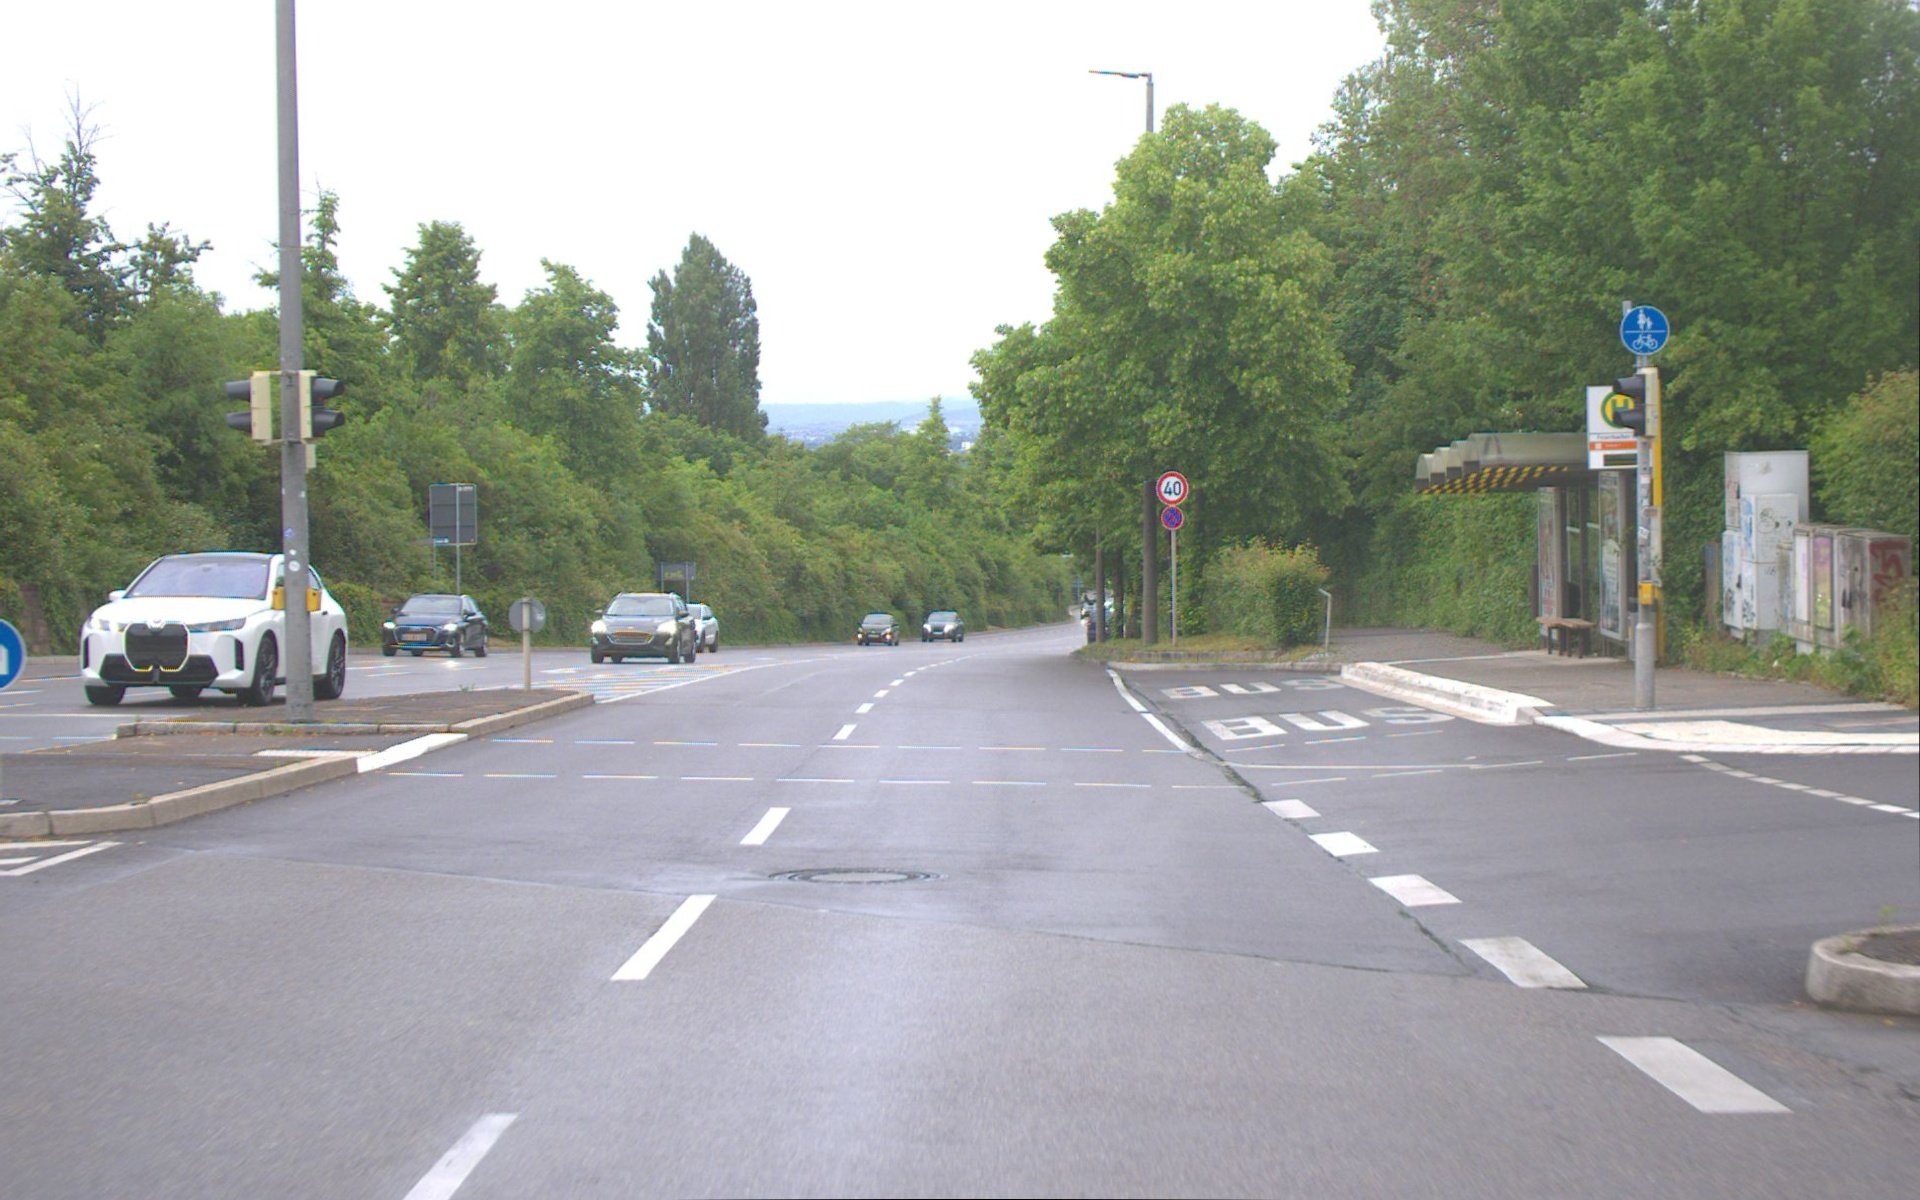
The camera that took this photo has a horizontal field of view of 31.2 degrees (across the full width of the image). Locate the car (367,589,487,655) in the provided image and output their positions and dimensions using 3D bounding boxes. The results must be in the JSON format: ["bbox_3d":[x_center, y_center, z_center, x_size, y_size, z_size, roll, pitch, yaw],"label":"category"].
[{"bbox_3d":[-12.140,0.482,78.567,1.820,1.433,4.454,0,0,3],"label":"car"}]

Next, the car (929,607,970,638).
[{"bbox_3d":[-0.570,1.216,184.818,1.864,1.584,3.892,2,0,4],"label":"car"}]

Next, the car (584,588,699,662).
[{"bbox_3d":[-6.578,0.497,71.423,1.778,1.467,4.644,0,0,2],"label":"car"}]

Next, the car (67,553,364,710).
[{"bbox_3d":[-8.317,0.296,38.908,1.945,1.630,5.005,0,1,4],"label":"car"}]

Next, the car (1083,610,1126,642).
[{"bbox_3d":[7.588,1.360,179.934,1.945,1.585,3.927,0,1,7],"label":"car"}]

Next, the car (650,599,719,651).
[{"bbox_3d":[-8.944,0.814,111.831,1.724,1.585,4.000,0,1,3],"label":"car"}]

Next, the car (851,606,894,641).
[{"bbox_3d":[-4.122,1.099,162.436,1.725,1.560,3.892,2,0,2],"label":"car"}]
